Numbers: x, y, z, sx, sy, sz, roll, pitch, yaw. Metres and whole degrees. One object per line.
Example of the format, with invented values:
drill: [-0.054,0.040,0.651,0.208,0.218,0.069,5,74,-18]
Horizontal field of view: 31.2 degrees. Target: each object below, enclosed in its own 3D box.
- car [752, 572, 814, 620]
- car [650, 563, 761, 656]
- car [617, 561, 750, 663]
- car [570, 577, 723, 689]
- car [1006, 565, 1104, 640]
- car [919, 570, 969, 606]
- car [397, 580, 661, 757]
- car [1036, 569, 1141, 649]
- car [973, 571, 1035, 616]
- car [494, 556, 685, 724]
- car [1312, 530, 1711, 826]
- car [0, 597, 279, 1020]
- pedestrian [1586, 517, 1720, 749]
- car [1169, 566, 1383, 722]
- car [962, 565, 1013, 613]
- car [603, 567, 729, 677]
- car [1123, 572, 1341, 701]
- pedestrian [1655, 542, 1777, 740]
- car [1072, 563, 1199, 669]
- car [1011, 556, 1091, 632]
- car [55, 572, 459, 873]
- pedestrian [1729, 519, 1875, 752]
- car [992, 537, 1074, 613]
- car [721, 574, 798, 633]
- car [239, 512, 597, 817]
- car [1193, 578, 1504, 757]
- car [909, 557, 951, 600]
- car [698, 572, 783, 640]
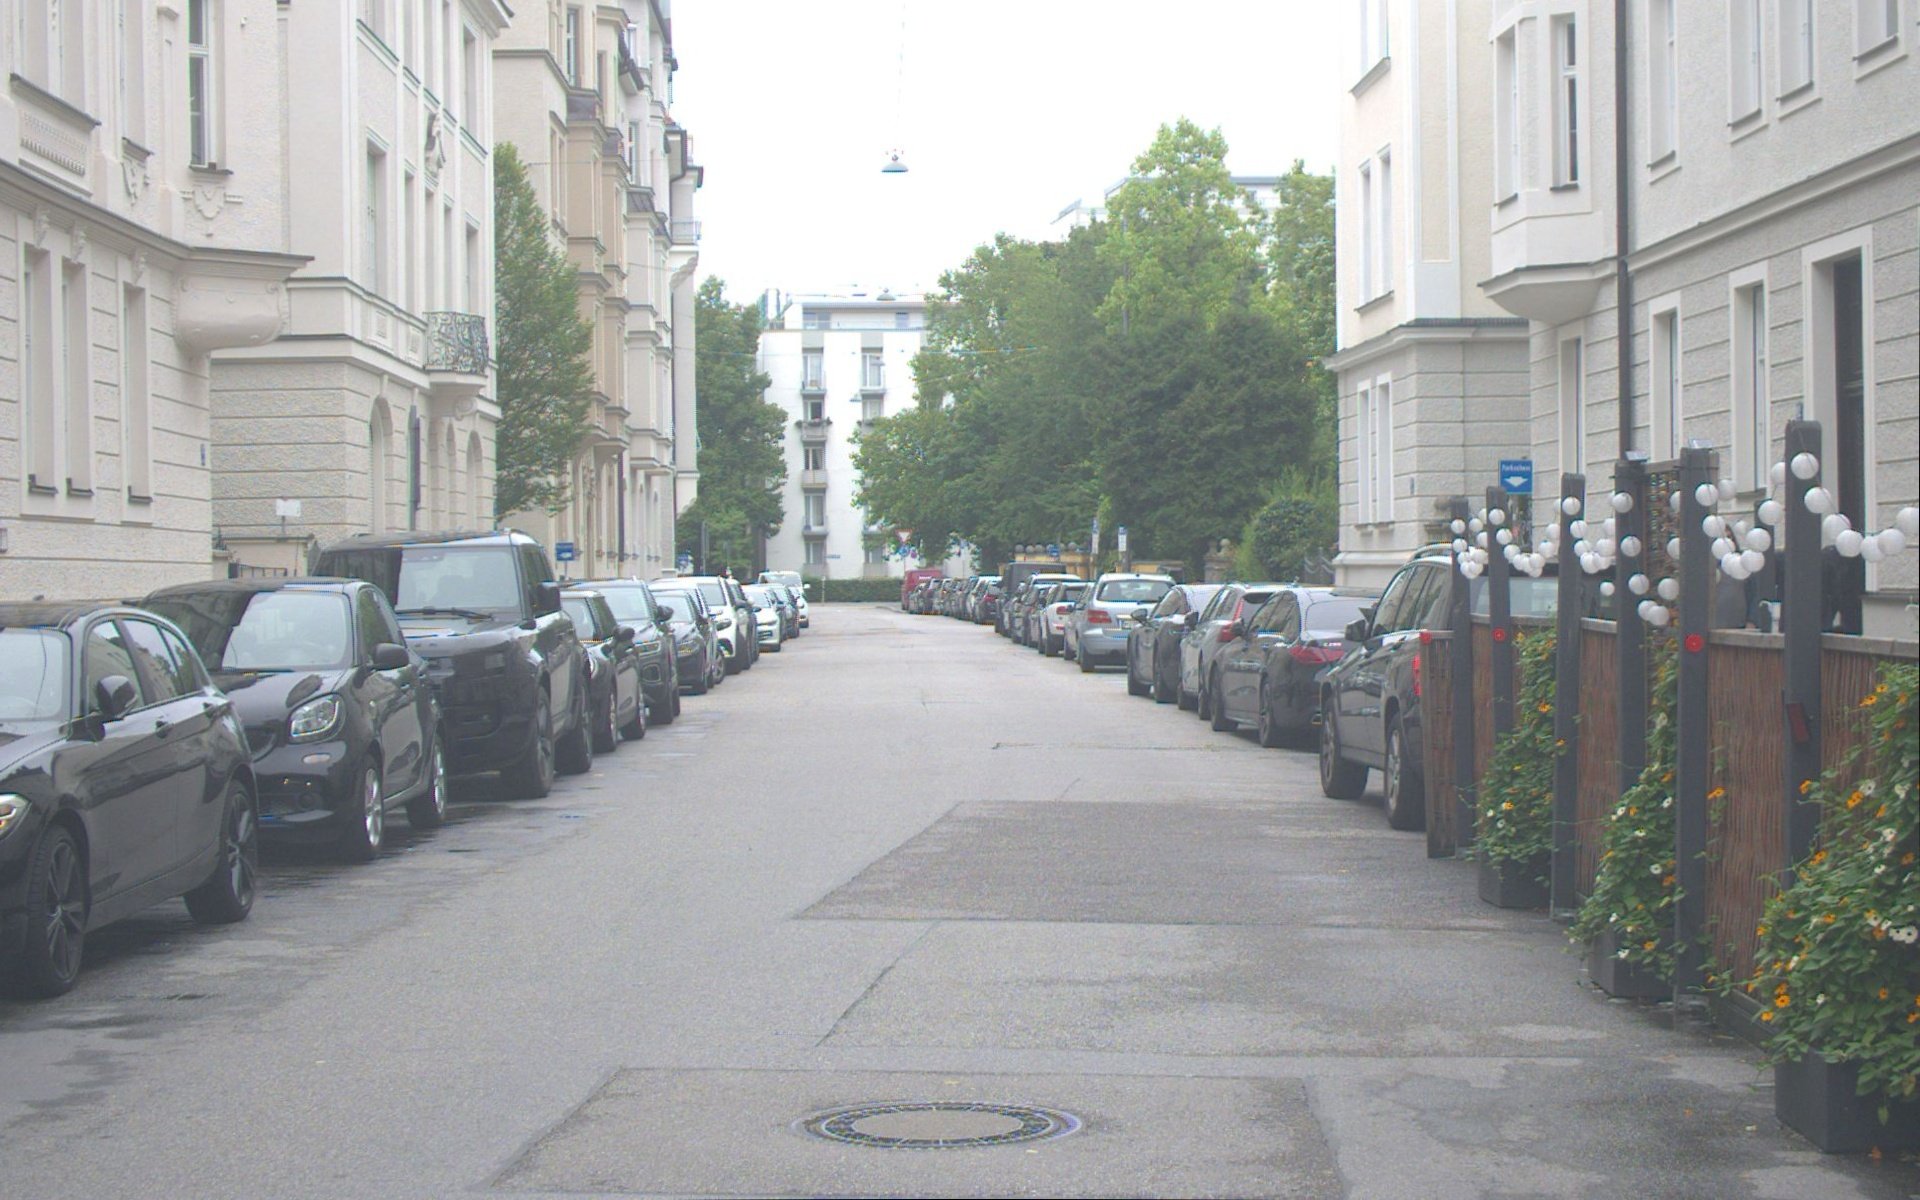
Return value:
car: [-5.863,-0.139,114.129,1.836,1.433,4.275,-3,1,-1]
car: [-4.645,0.152,63.185,1.836,1.613,4.245,0,1,-2]
car: [-4.606,0.167,57.757,1.915,1.613,4.571,0,1,-1]
car: [-4.320,0.424,47.906,1.792,1.410,4.279,-3,0,-1]
car: [2.149,0.025,79.142,1.750,1.605,4.424,1,1,-5]
car: [-0.730,-0.522,150.501,1.838,1.513,3.948,1,0,-5]
car: [-3.845,0.567,31.322,1.836,1.389,4.245,-2,1,0]
car: [2.457,0.150,66.820,1.784,1.499,4.065,0,0,-1]
car: [1.413,-0.204,112.041,1.838,1.408,4.343,1,0,-1]
car: [-3.883,0.381,36.570,1.726,1.613,4.122,-2,1,-3]
car: [3.324,0.413,21.485,1.800,1.669,4.189,0,1,0]
car: [-4.034,0.731,13.756,1.654,1.402,4.092,-2,0,2]
pedestrian: [5.500,0.249,27.327,0.883,1.805,1.111,0,1,3]
car: [3.315,0.420,36.791,1.760,1.480,4.421,2,1,-1]
car: [0.957,-0.374,121.820,1.513,1.656,3.674,1,0,-4]
car: [-4.492,0.306,52.599,1.782,1.536,4.258,-3,1,-5]
car: [3.236,0.397,41.749,1.993,1.452,4.713,-1,1,-3]
pedestrian: [7.011,0.367,31.935,0.883,1.807,1.111,0,1,0]
car: [2.813,0.228,55.929,1.822,1.564,4.400,2,1,1]
car: [2.198,-0.145,84.204,1.723,1.763,4.413,2,0,-1]
car: [-3.904,0.620,19.609,1.616,1.508,3.532,-2,1,-1]
pedestrian: [6.573,0.265,26.883,0.883,1.780,1.111,0,1,1]
car: [1.957,-0.710,93.616,1.950,1.948,4.666,1,1,-2]
car: [-5.410,0.089,93.293,1.836,1.431,4.245,-3,1,-1]
car: [-3.733,0.377,24.480,1.836,1.888,4.764,-2,1,-1]
car: [3.419,0.549,31.196,1.836,1.394,4.975,1,1,-5]
car: [-1.386,-1.016,161.296,1.836,1.920,4.005,2,1,1]
car: [-4.997,0.117,78.612,1.836,1.429,4.245,-2,1,-3]
